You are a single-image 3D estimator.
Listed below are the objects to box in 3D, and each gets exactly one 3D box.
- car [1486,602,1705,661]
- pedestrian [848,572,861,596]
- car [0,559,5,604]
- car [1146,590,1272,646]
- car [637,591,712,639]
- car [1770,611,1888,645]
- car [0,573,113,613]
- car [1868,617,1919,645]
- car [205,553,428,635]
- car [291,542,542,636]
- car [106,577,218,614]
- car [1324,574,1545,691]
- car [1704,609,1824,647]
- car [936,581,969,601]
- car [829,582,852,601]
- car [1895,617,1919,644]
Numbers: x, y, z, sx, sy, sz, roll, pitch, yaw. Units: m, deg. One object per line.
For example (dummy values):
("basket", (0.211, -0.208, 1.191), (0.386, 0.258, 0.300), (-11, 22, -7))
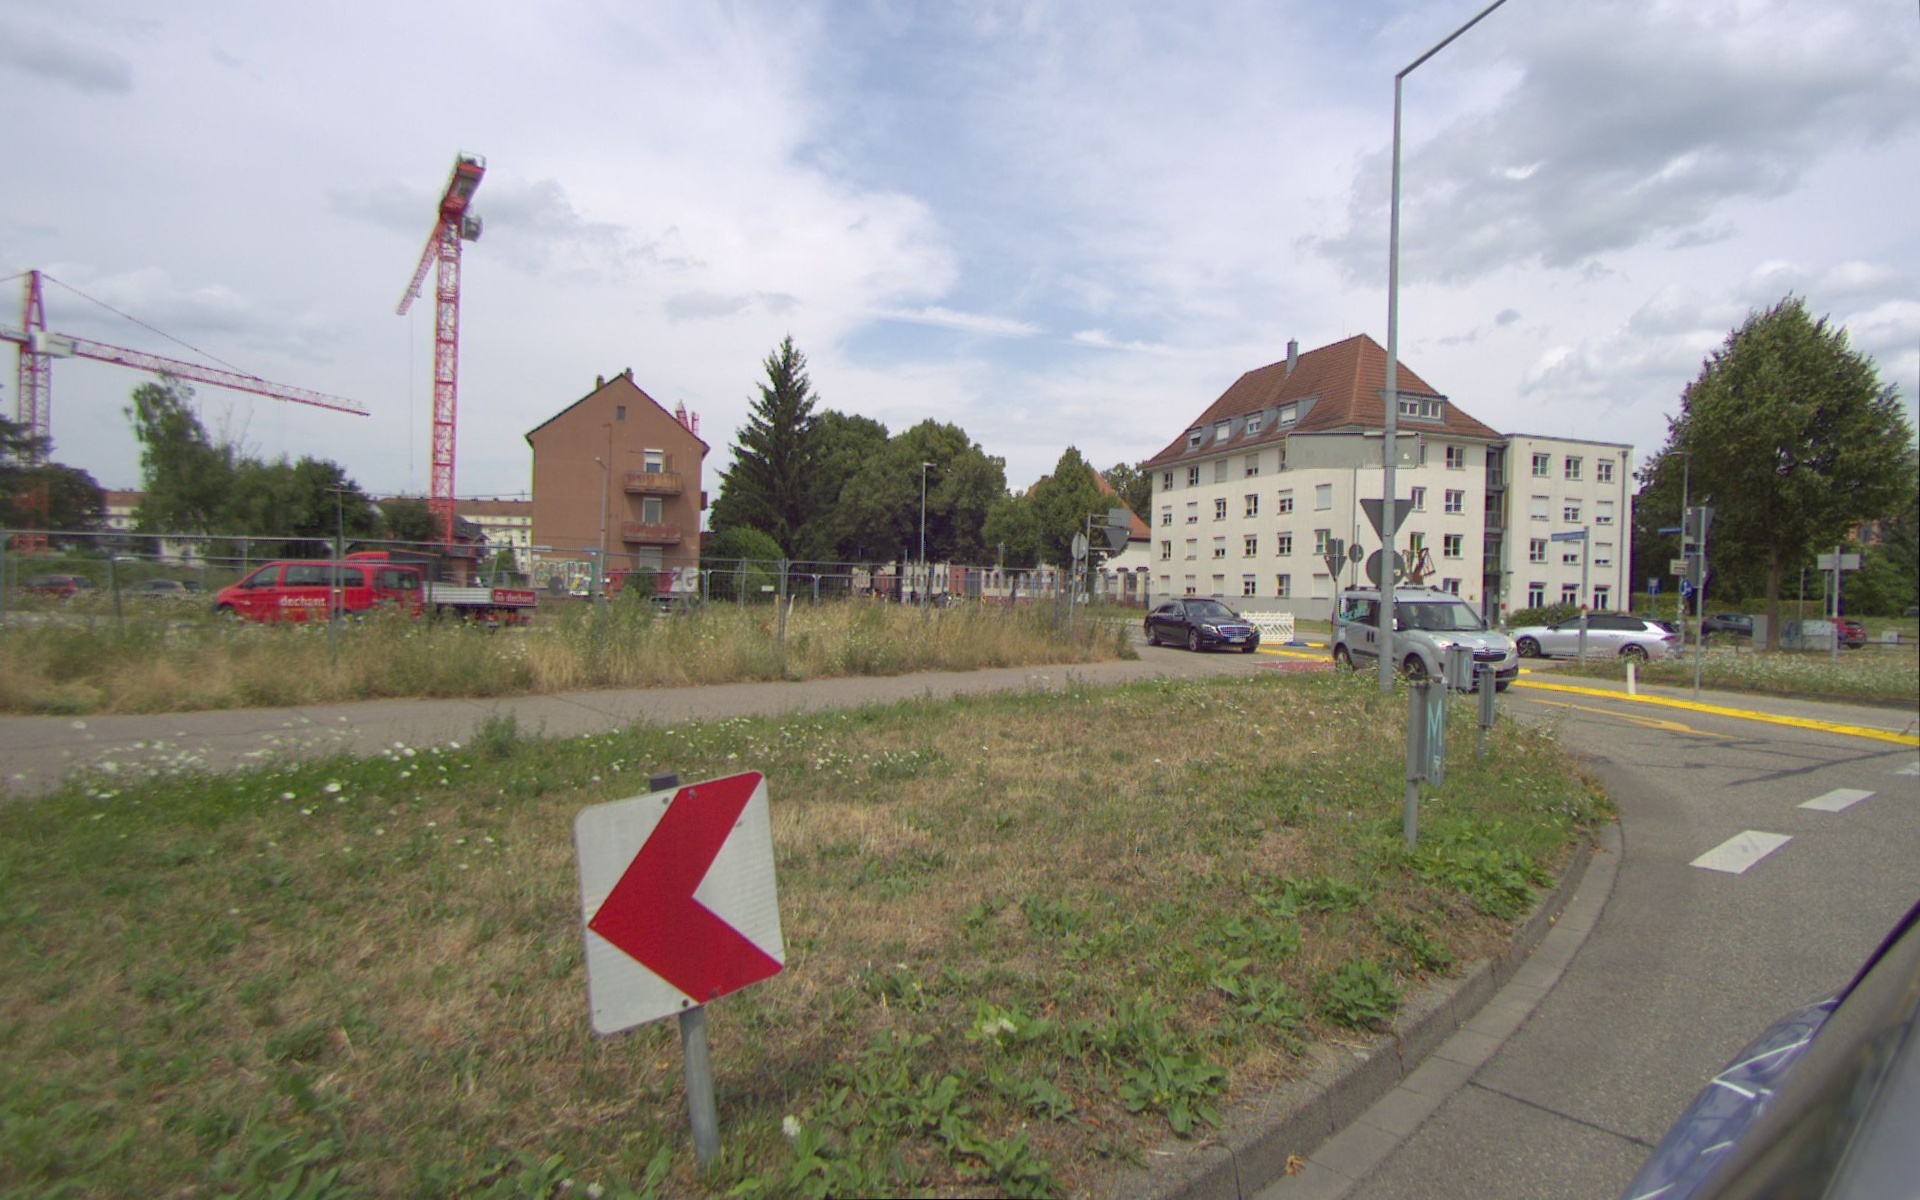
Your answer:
("car", (18.688, 0.860, 29.951), (1.967, 1.501, 5.171), (1, 1, -44))
("pedestrian", (-8.993, -1.377, 86.125), (0.728, 2.039, 0.843), (1, 0, 40))
("car", (-48.127, -0.914, 47.248), (4.811, 2.163, 2.150), (1, 0, -6))
("car", (7.294, 0.502, 30.230), (1.781, 1.523, 4.878), (1, 0, -11))
("car", (-9.753, 0.481, 34.834), (1.731, 1.492, 4.264), (1, 1, -6))
("car", (46.600, 1.500, 54.395), (1.958, 1.617, 4.417), (1, 1, -18))
("car", (-42.573, -0.339, 47.615), (3.939, 1.771, 1.856), (1, 0, 2))
("car", (53.934, 1.749, 56.913), (1.581, 1.486, 4.016), (1, 1, -20))
("car", (-16.628, -0.143, 26.231), (4.911, 1.935, 1.929), (1, -2, 12))
("car", (-15.486, -0.335, 28.919), (6.444, 2.443, 2.309), (1, 0, 14))
("car", (-37.564, -0.218, 47.675), (3.940, 1.622, 1.801), (1, 0, 3))
("car", (8.990, 0.530, 19.693), (1.775, 1.972, 4.589), (1, 1, -5))
("car", (41.571, 1.409, 52.468), (1.958, 1.786, 4.510), (1, 1, -20))
("car", (-0.652, -0.761, 84.188), (1.594, 1.538, 4.227), (1, 0, -18))
("car", (-15.209, -1.082, 128.458), (1.958, 2.301, 5.171), (1, 0, -18))
("car", (55.982, 1.791, 57.378), (1.779, 1.486, 4.016), (1, 0, -20))
